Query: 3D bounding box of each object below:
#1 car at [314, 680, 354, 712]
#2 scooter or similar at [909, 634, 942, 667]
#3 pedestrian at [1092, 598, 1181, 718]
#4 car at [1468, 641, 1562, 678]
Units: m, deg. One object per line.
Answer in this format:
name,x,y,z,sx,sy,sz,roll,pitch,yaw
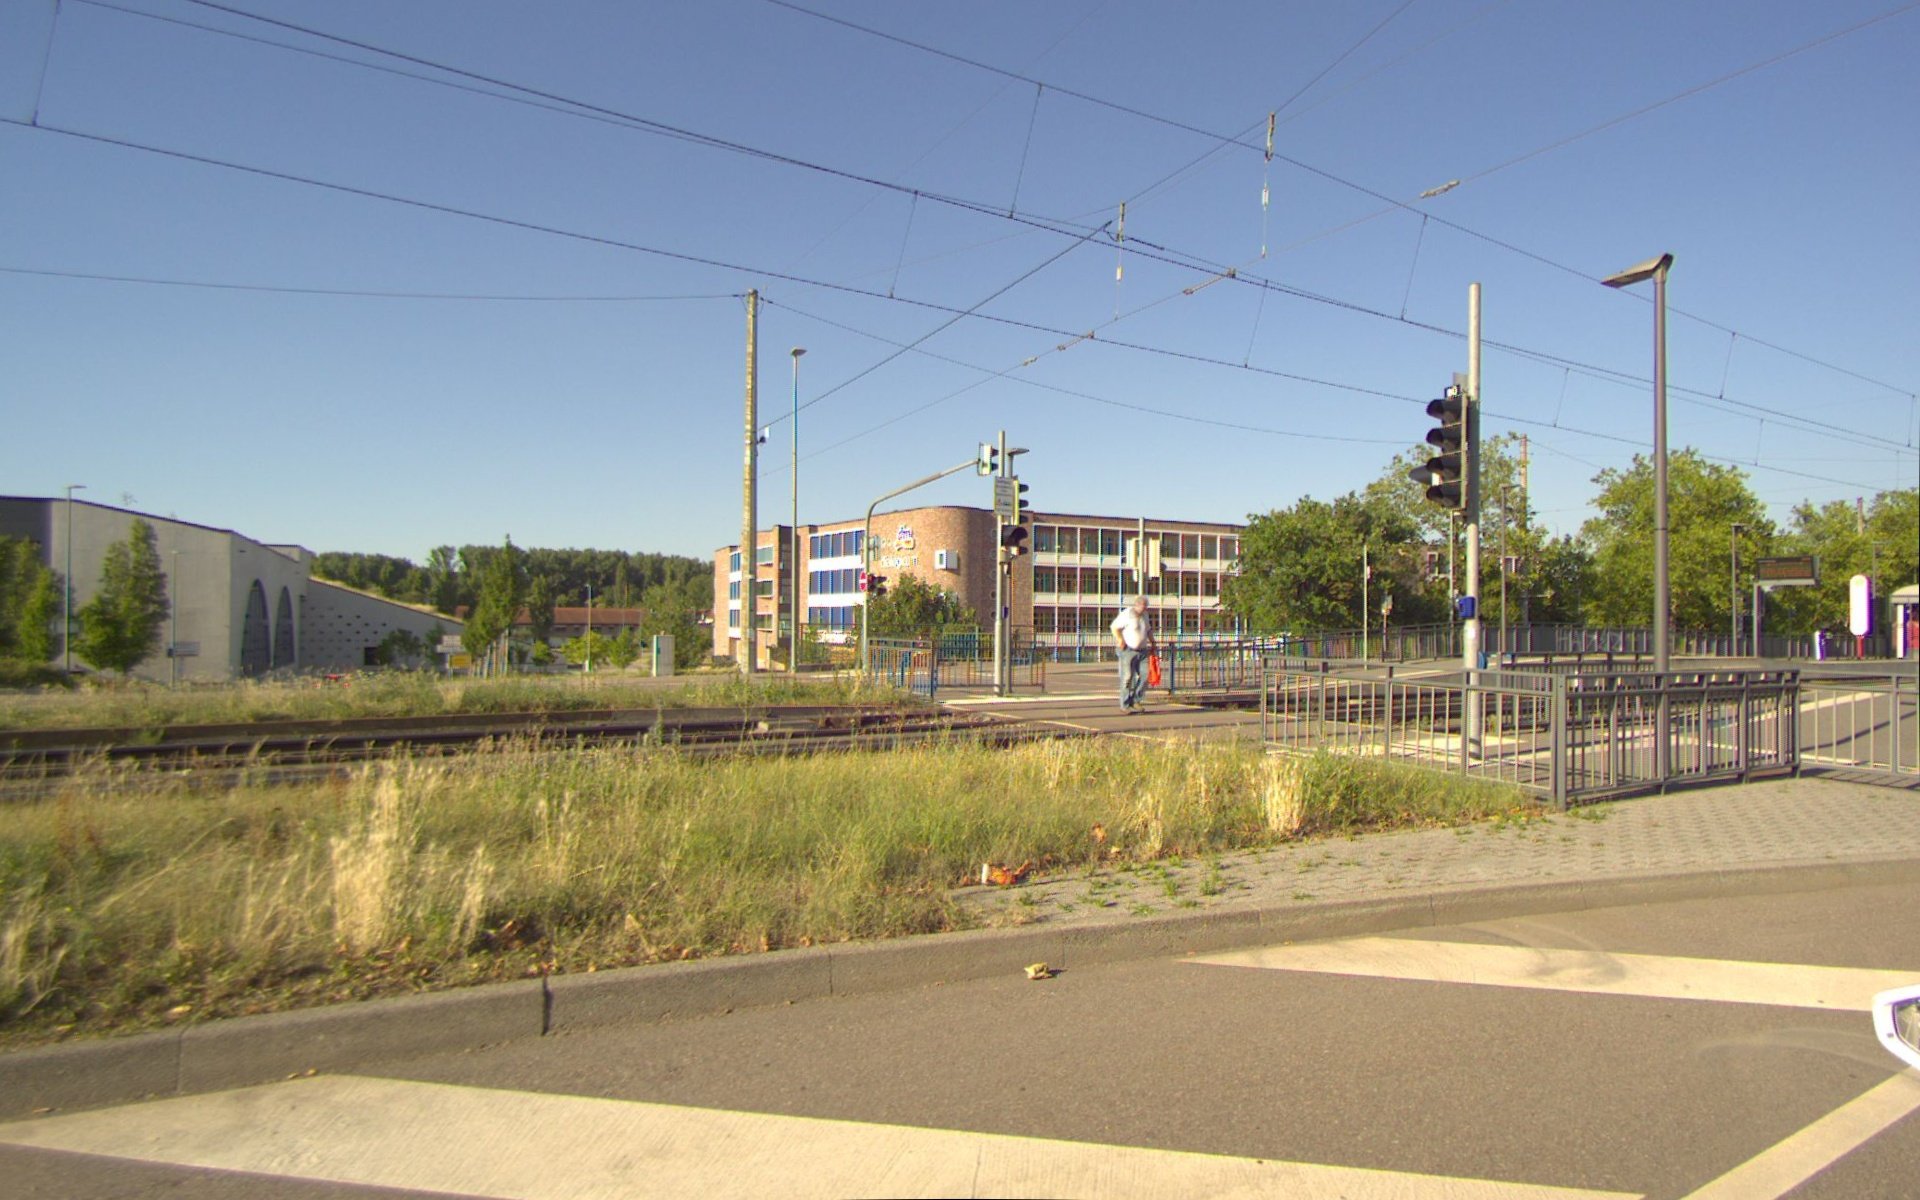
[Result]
car,-36.427,5.576,58.534,1.673,1.572,3.971,1,-2,-28
scooter or similar,-1.184,1.745,34.568,1.127,1.110,0.399,2,-2,-42
pedestrian,2.535,0.821,14.492,0.971,1.666,0.889,1,-1,-17
car,23.511,2.491,42.540,3.953,1.465,1.724,1,-2,-30
